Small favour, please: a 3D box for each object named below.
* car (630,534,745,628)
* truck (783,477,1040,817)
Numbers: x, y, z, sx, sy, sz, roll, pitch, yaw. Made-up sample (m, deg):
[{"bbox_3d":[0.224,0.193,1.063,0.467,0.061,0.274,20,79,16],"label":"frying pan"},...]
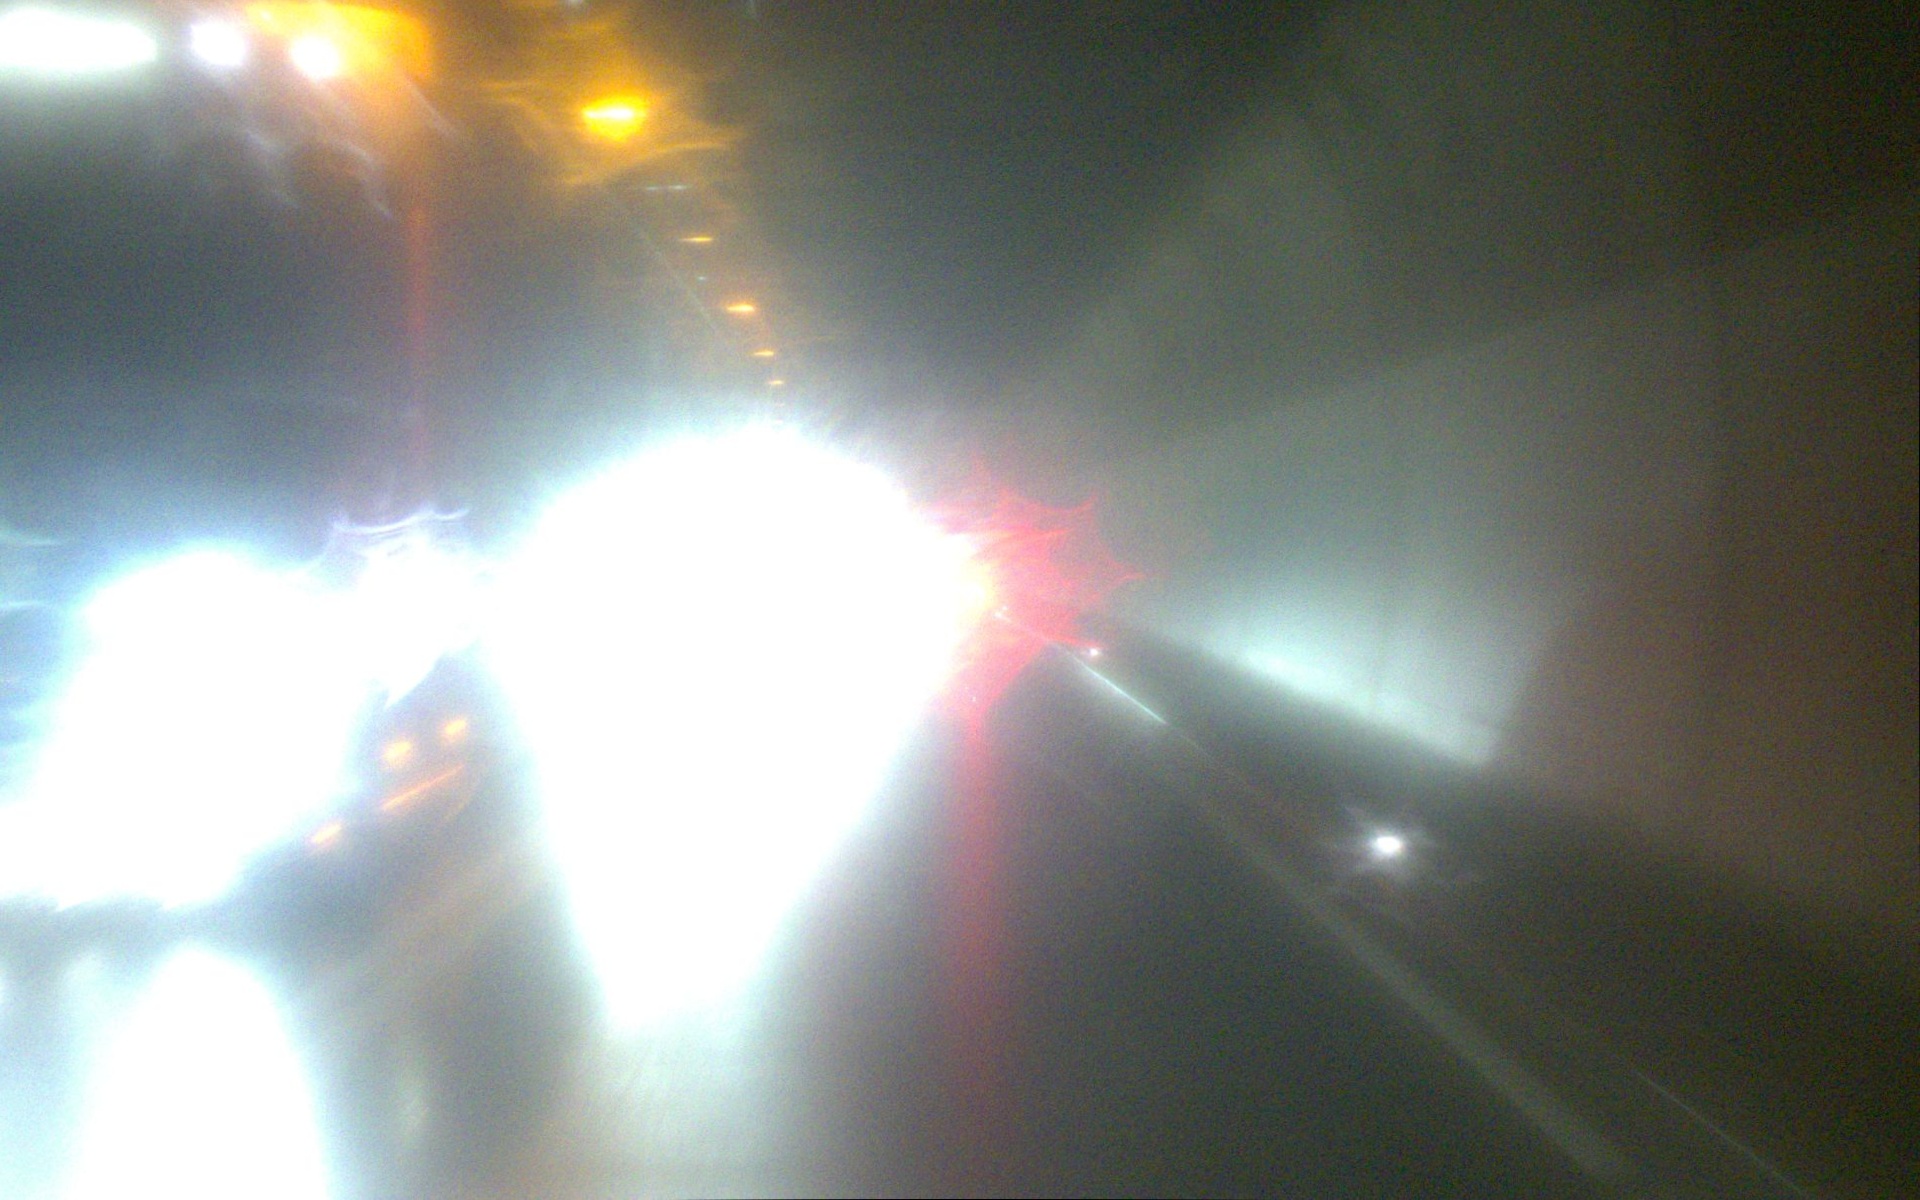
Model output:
[{"bbox_3d":[-4.582,-0.346,58.277,1.660,1.485,3.963,-2,1,-1],"label":"car"},{"bbox_3d":[-0.471,0.352,34.098,2.262,3.000,7.416,0,1,-1],"label":"truck"}]
